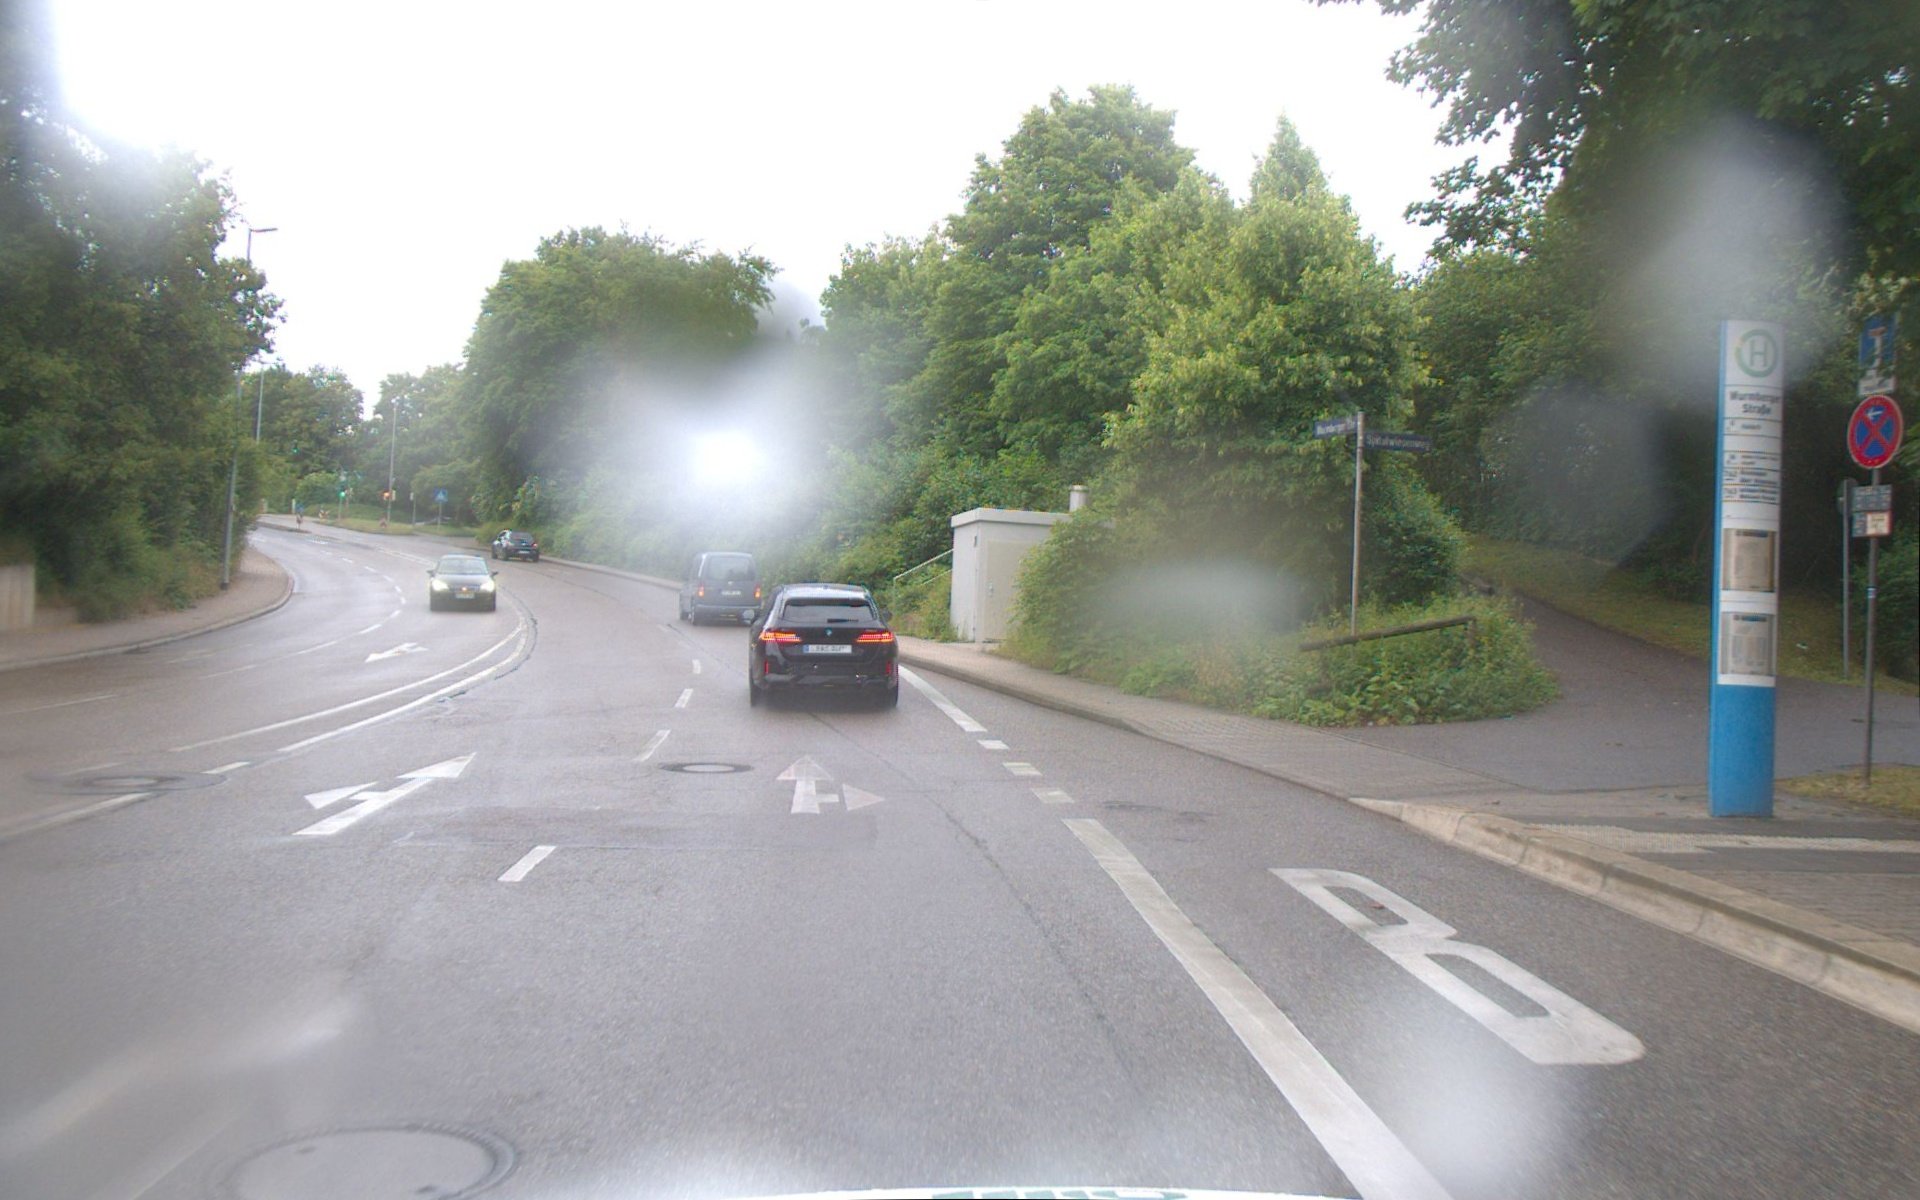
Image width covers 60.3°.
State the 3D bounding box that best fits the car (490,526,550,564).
[{"bbox_3d":[-21.649,-2.689,81.223,1.832,1.691,3.959,3,-1,-30],"label":"car"}]

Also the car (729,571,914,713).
[{"bbox_3d":[-1.964,0.473,22.056,1.958,1.614,4.652,2,1,-10],"label":"car"}]

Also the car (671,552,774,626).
[{"bbox_3d":[-6.195,-0.300,42.812,1.963,1.779,3.980,1,1,-18],"label":"car"}]

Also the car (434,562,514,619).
[{"bbox_3d":[-13.650,-0.285,46.628,1.859,1.513,4.221,1,0,-12],"label":"car"}]
